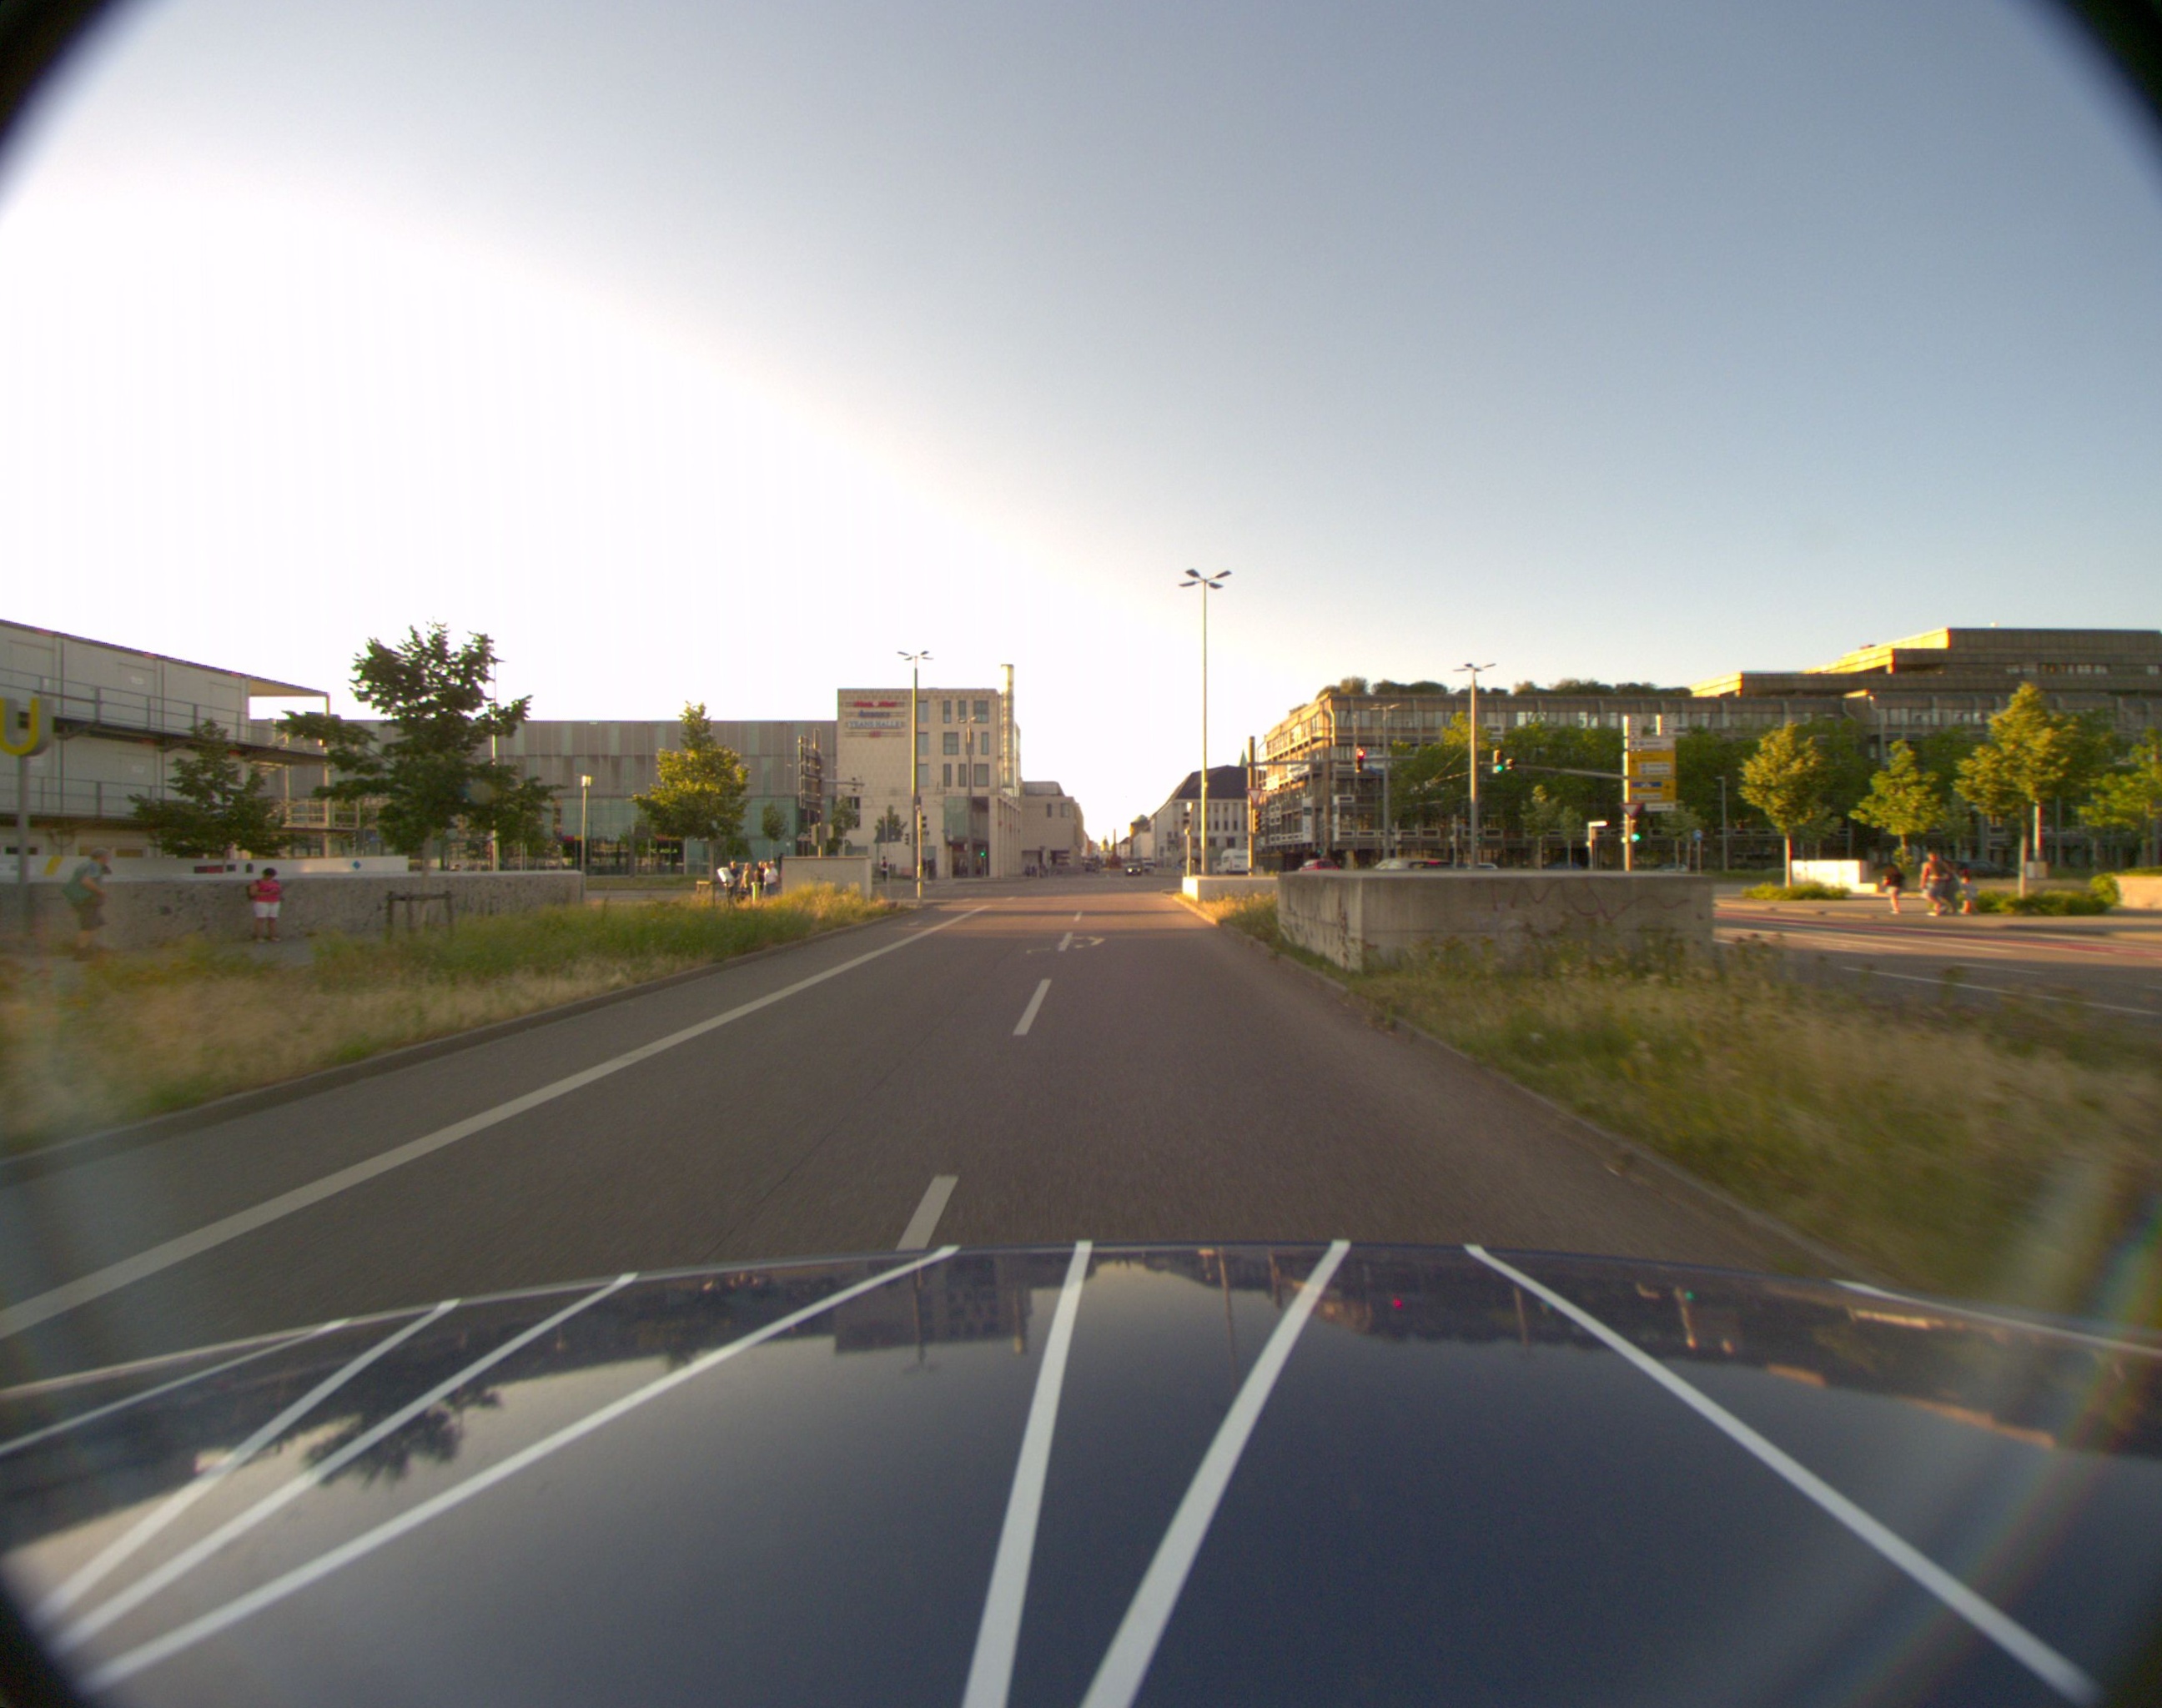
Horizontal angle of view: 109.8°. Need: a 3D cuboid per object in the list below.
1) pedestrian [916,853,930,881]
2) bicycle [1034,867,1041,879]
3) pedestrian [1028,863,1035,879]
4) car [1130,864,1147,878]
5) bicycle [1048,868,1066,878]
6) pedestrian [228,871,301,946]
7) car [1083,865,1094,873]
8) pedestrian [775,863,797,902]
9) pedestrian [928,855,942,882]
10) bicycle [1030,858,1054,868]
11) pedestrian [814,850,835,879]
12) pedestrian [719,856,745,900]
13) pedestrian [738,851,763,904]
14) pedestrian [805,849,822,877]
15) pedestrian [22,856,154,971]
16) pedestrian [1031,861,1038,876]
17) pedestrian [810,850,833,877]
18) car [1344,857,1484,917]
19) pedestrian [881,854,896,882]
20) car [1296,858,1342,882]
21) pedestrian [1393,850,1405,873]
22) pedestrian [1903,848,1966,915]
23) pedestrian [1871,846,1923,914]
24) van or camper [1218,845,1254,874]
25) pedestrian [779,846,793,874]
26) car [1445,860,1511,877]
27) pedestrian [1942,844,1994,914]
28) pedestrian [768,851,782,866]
[{"bbox_3d":[-9.883,0.818,47.564,0.644,1.720,0.871,0,0,4],"label":"pedestrian"},{"bbox_3d":[-5.230,2.279,91.151,0.619,1.316,2.509,0,0,0],"label":"bicycle"},{"bbox_3d":[-5.387,1.857,82.971,0.764,1.696,0.834,0,-1,0],"label":"pedestrian"},{"bbox_3d":[7.070,2.097,93.726,2.071,1.641,4.001,0,0,3],"label":"car"},{"bbox_3d":[-3.250,2.524,103.072,2.507,1.316,0.619,0,0,1],"label":"bicycle"},{"bbox_3d":[-16.550,1.101,15.405,0.762,1.481,0.645,0,-2,2],"label":"pedestrian"},{"bbox_3d":[1.618,3.258,161.526,2.071,1.641,4.001,0,-1,3],"label":"car"},{"bbox_3d":[-12.857,1.236,33.115,0.644,1.702,0.871,0,-1,-2],"label":"pedestrian"},{"bbox_3d":[-9.076,0.908,47.404,0.644,1.650,0.871,0,0,4],"label":"pedestrian"},{"bbox_3d":[-4.796,1.147,93.327,2.804,1.209,0.765,0,0,11],"label":"bicycle"},{"bbox_3d":[-17.135,0.679,50.796,0.892,1.843,1.007,3,1,14],"label":"pedestrian"},{"bbox_3d":[-13.791,0.947,30.046,0.644,1.702,0.763,0,-1,2],"label":"pedestrian"},{"bbox_3d":[-12.279,0.859,28.241,0.644,1.922,0.619,0,1,4],"label":"pedestrian"},{"bbox_3d":[-18.023,0.606,51.116,0.896,1.843,0.724,1,2,-32],"label":"pedestrian"},{"bbox_3d":[-16.332,0.951,12.533,0.816,1.804,1.047,0,-1,7],"label":"pedestrian"},{"bbox_3d":[-5.154,1.618,83.853,0.764,1.696,0.834,0,-1,0],"label":"pedestrian"},{"bbox_3d":[-16.948,0.618,49.602,0.868,1.714,1.009,3,2,28],"label":"pedestrian"},{"bbox_3d":[8.961,0.830,20.903,1.891,1.457,4.538,0,0,1],"label":"car"},{"bbox_3d":[-12.582,0.880,49.700,0.644,1.803,0.871,0,1,4],"label":"pedestrian"},{"bbox_3d":[16.173,1.036,51.779,1.639,1.518,3.999,-2,0,-4],"label":"car"},{"bbox_3d":[25.904,0.603,61.928,0.644,1.920,0.681,0,1,-1],"label":"pedestrian"},{"bbox_3d":[23.741,0.755,21.156,0.874,1.826,0.776,0,1,3],"label":"pedestrian"},{"bbox_3d":[23.632,0.740,22.019,0.632,1.922,0.776,-2,0,2],"label":"pedestrian"},{"bbox_3d":[15.153,0.583,74.686,2.232,2.650,6.163,0,-1,-1],"label":"van or camper"},{"bbox_3d":[-19.136,0.376,49.273,0.604,1.843,0.586,0,1,4],"label":"pedestrian"},{"bbox_3d":[37.211,1.351,71.348,5.159,1.575,2.000,0,-1,1],"label":"car"},{"bbox_3d":[24.657,0.693,21.125,0.661,1.921,0.648,0,-1,3],"label":"pedestrian"},{"bbox_3d":[-19.864,0.303,49.358,0.649,0.957,0.654,0,0,-1],"label":"pedestrian"}]
